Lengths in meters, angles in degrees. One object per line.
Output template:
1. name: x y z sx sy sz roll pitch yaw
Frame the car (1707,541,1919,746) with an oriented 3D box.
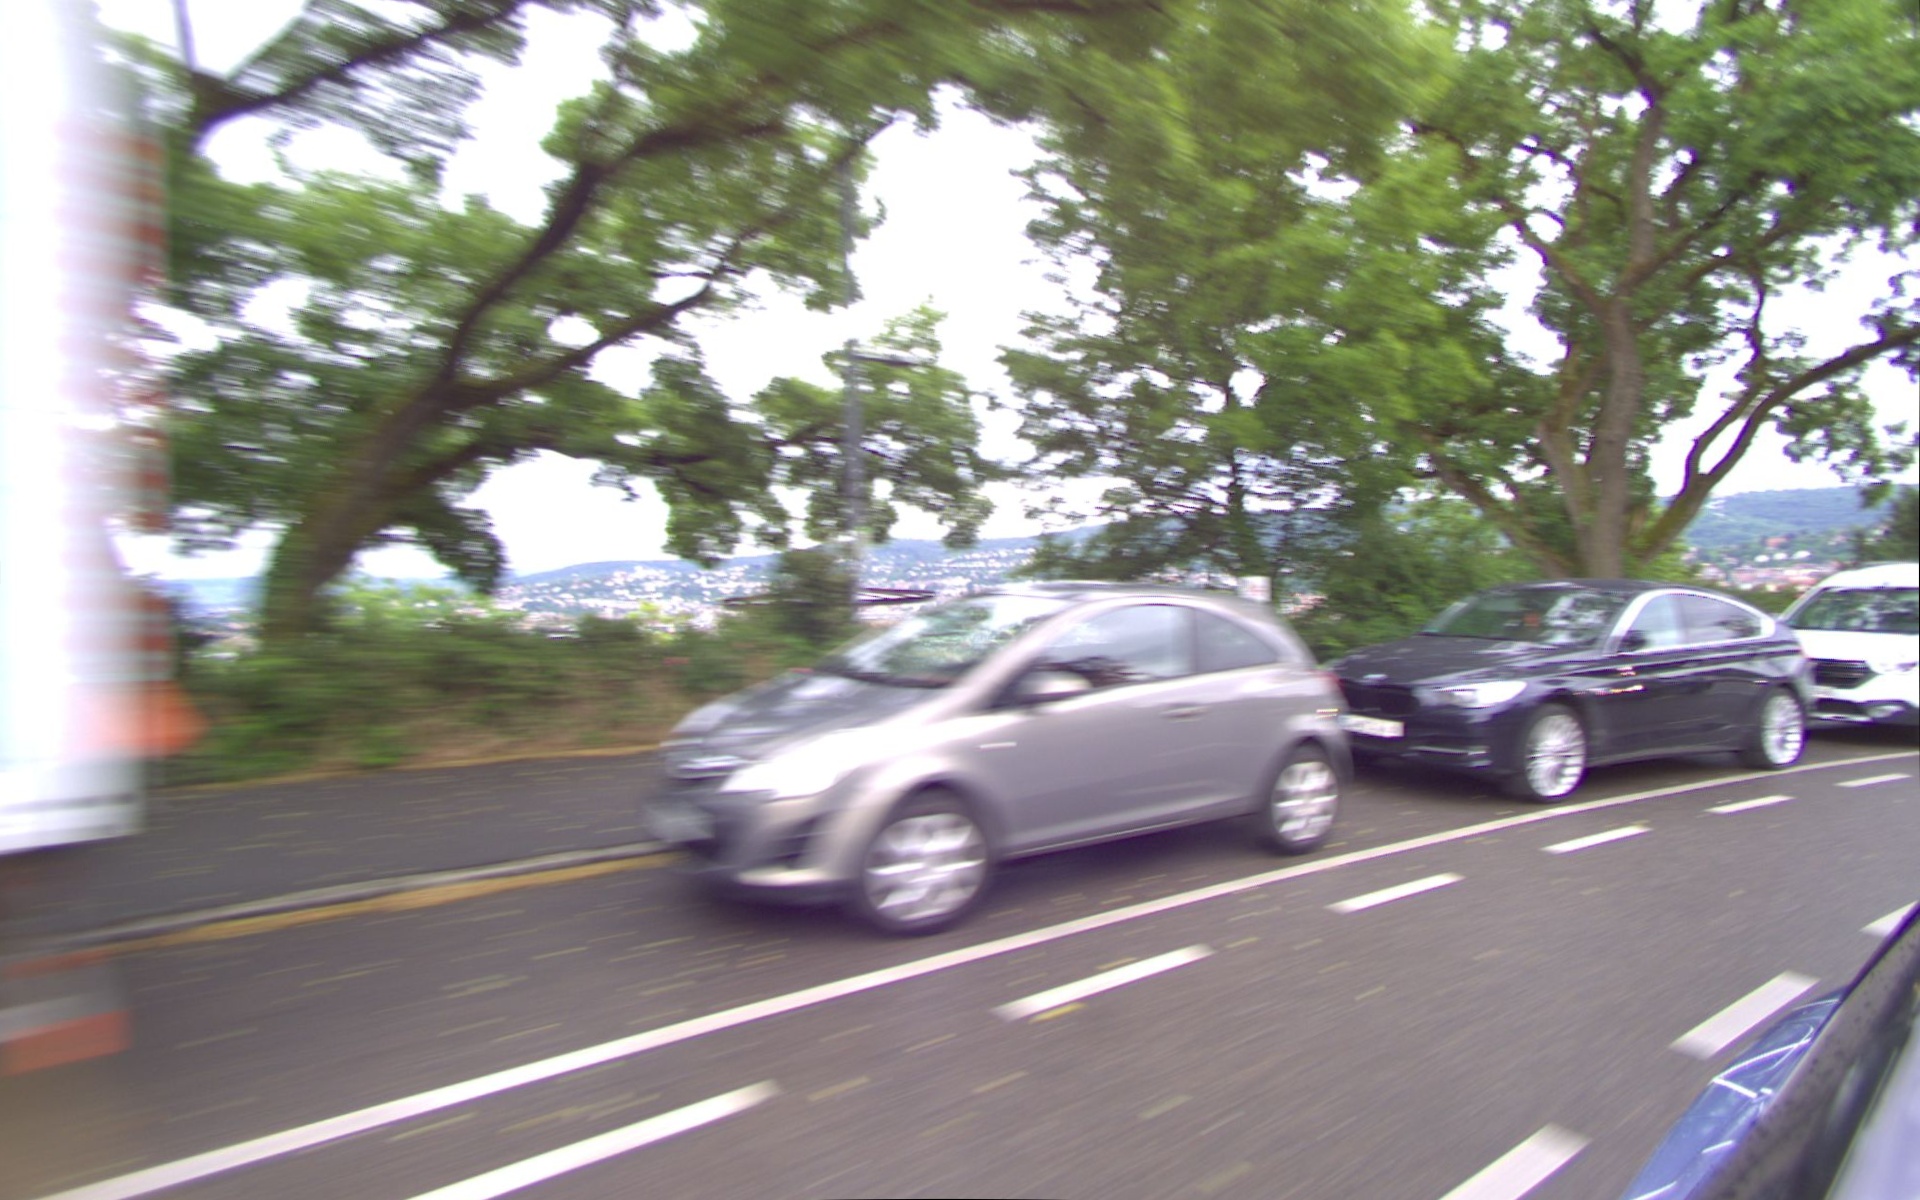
1. car: 10.245 0.373 10.816 4.332 1.844 1.756 0 1 -25

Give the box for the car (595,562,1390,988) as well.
1. car: 0.336 0.597 5.478 4.056 1.522 1.740 0 1 -34

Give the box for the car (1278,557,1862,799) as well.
1. car: 5.148 0.489 8.438 4.794 1.562 1.869 0 1 -26

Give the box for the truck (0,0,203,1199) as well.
1. truck: -5.755 -0.406 0.131 2.775 3.514 8.789 2 2 45
